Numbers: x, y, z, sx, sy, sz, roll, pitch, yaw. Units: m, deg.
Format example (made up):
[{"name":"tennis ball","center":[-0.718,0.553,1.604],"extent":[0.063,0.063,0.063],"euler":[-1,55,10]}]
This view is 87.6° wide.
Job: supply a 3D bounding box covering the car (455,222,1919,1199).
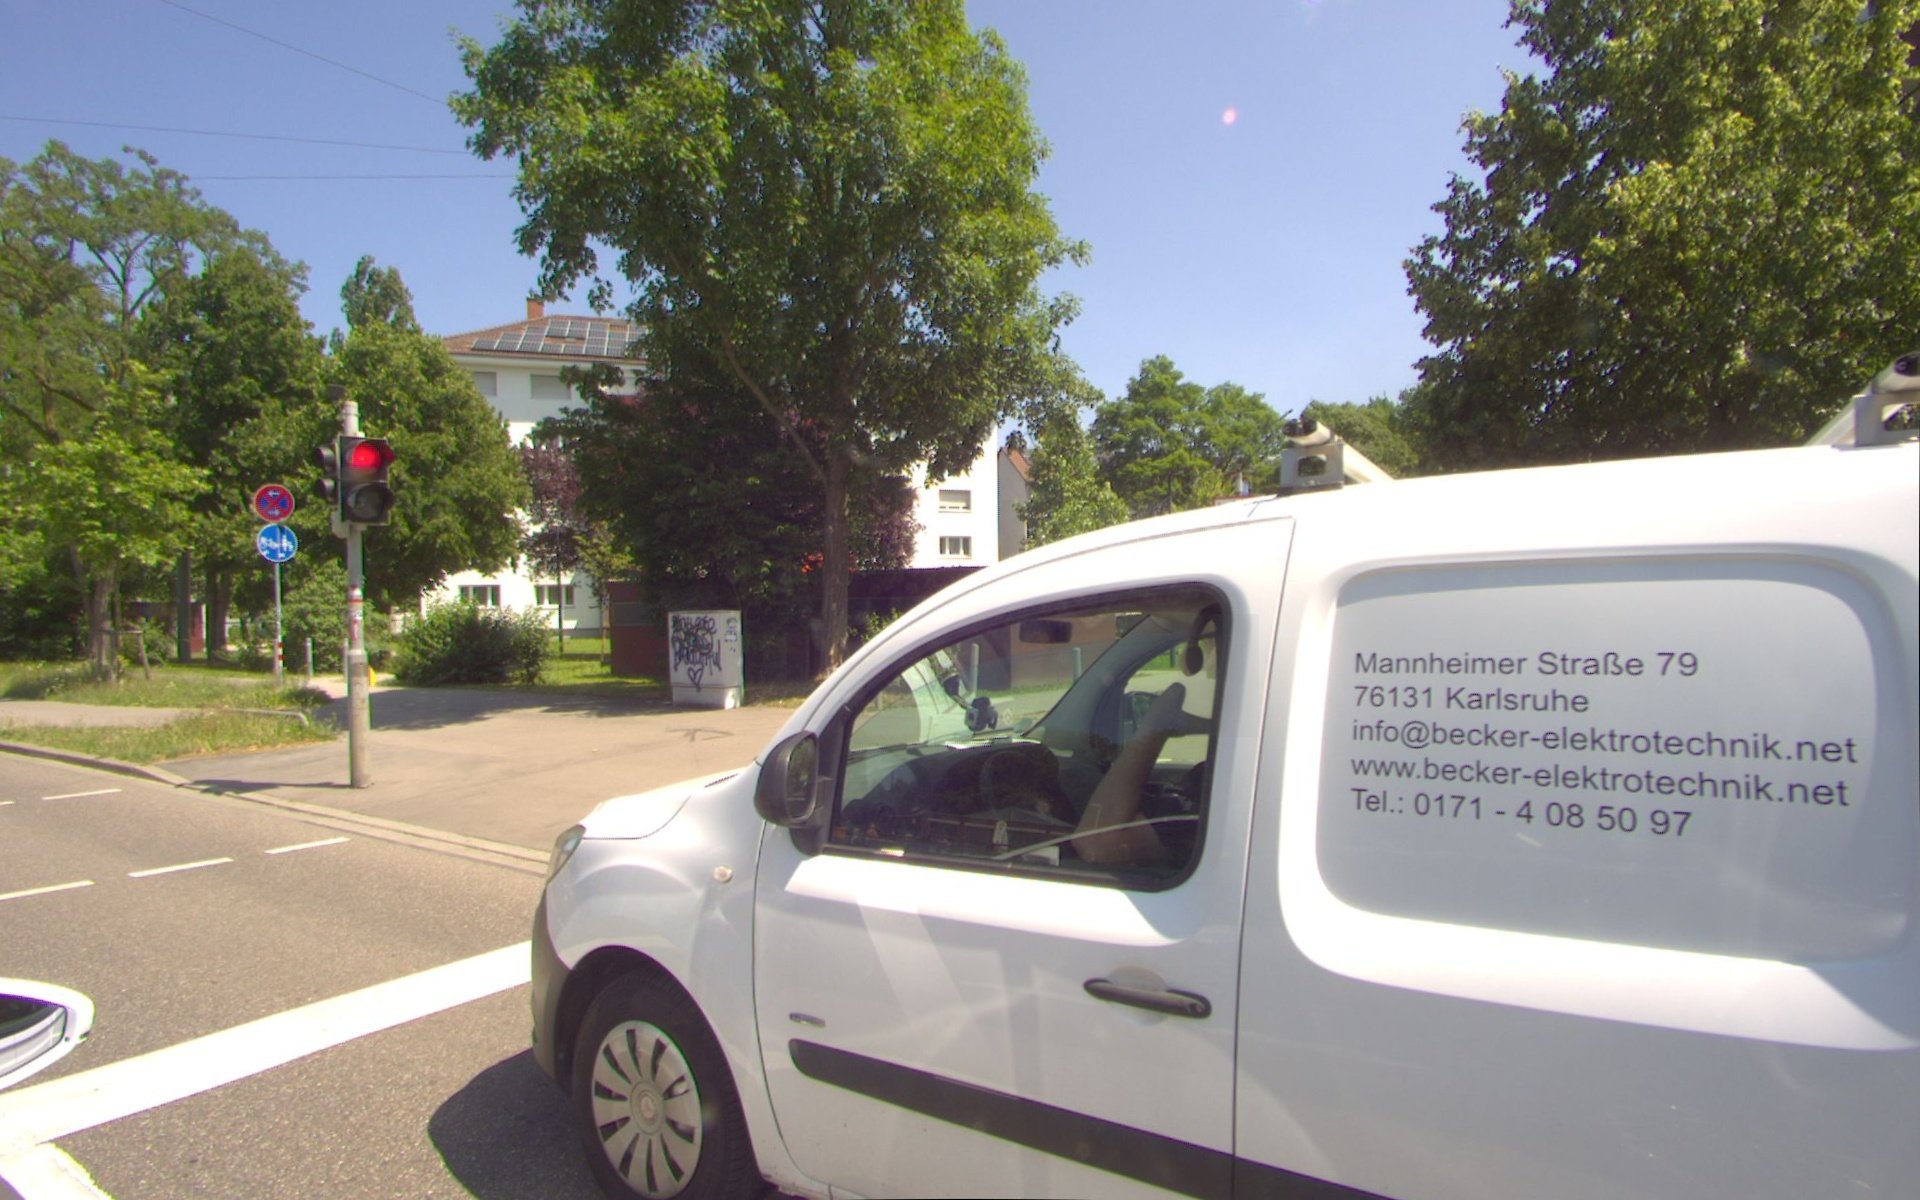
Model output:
[{"name":"car","center":[0.913,0.551,2.365],"extent":[4.393,1.906,1.820],"euler":[-1,-1,33]}]
